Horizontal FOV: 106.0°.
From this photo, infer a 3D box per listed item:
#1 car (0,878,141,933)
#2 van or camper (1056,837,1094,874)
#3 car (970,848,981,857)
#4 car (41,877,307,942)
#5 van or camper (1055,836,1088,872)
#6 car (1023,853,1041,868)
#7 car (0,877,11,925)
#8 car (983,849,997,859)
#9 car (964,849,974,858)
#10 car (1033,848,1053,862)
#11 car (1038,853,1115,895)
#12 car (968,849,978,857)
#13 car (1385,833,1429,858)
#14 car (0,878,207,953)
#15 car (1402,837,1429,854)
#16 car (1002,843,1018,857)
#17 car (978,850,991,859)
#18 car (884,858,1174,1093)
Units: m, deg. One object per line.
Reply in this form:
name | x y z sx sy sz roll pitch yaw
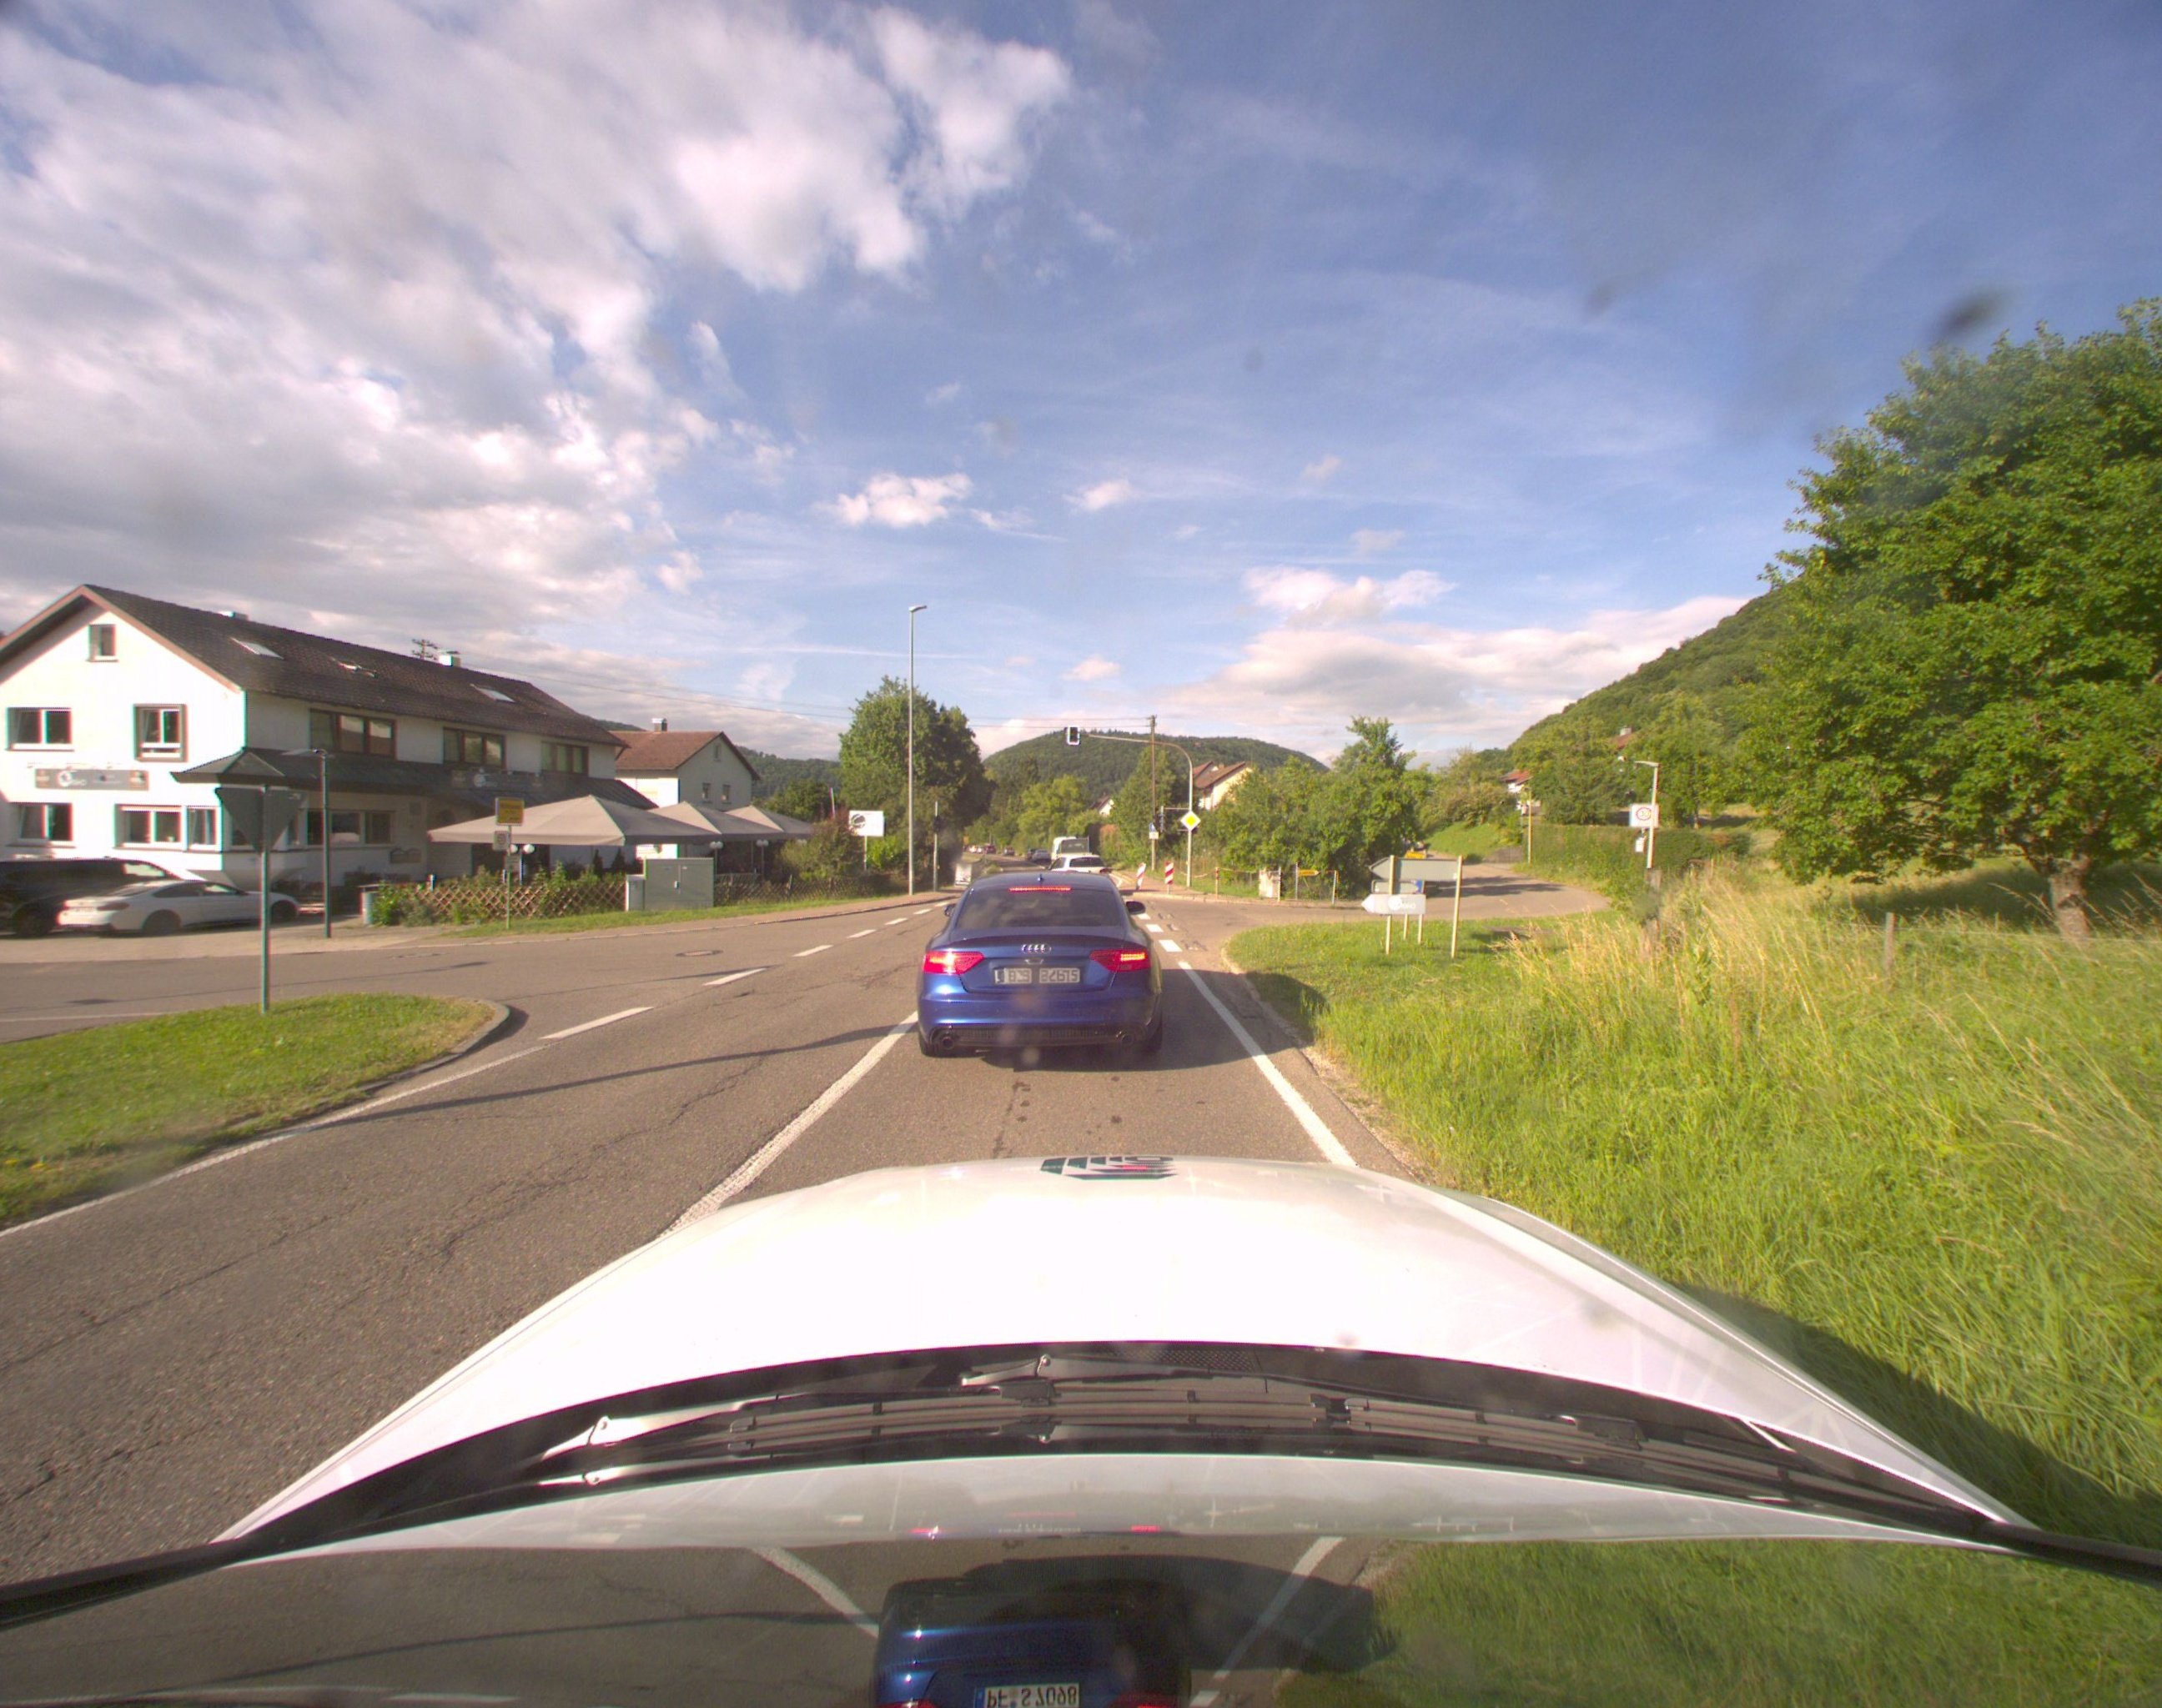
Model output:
car | -30.428 1.484 23.092 1.984 1.389 4.582 -2 0 5
van or camper | -0.478 0.077 55.139 2.176 2.385 5.362 -1 1 -4
car | -21.546 -0.278 166.593 1.751 1.783 3.981 -2 0 -14
car | -24.662 1.452 22.461 1.984 1.389 4.582 -2 0 5
van or camper | -0.870 -0.008 69.879 2.410 2.904 6.122 -1 1 -4
car | -6.181 0.792 102.043 1.796 1.794 3.987 -2 0 -10
car | -33.206 1.455 22.150 1.984 1.412 4.582 -2 0 5
car | -16.661 -0.023 149.473 2.043 1.684 3.982 -1 1 -13
car | -24.747 -0.111 179.313 1.774 1.783 3.981 -2 0 -14
car | -4.266 0.083 90.789 1.819 1.552 3.987 -1 1 -10
car | -0.245 0.681 29.826 1.775 1.415 4.151 1 0 -16
car | -22.946 -0.198 172.767 1.774 1.783 3.981 -2 0 -14
car | 25.622 -0.685 64.192 1.983 1.876 4.880 1 1 6
car | -27.358 1.613 22.141 1.984 1.685 4.582 -2 0 5
car | 30.891 -0.776 75.334 1.978 1.464 4.018 -1 -1 17
car | -11.269 -0.644 128.401 1.995 2.013 3.983 -2 0 -12
car | -18.770 0.099 158.034 1.944 1.684 3.982 -2 0 -13
car | -0.323 0.789 7.350 1.824 1.409 4.226 -2 0 0
